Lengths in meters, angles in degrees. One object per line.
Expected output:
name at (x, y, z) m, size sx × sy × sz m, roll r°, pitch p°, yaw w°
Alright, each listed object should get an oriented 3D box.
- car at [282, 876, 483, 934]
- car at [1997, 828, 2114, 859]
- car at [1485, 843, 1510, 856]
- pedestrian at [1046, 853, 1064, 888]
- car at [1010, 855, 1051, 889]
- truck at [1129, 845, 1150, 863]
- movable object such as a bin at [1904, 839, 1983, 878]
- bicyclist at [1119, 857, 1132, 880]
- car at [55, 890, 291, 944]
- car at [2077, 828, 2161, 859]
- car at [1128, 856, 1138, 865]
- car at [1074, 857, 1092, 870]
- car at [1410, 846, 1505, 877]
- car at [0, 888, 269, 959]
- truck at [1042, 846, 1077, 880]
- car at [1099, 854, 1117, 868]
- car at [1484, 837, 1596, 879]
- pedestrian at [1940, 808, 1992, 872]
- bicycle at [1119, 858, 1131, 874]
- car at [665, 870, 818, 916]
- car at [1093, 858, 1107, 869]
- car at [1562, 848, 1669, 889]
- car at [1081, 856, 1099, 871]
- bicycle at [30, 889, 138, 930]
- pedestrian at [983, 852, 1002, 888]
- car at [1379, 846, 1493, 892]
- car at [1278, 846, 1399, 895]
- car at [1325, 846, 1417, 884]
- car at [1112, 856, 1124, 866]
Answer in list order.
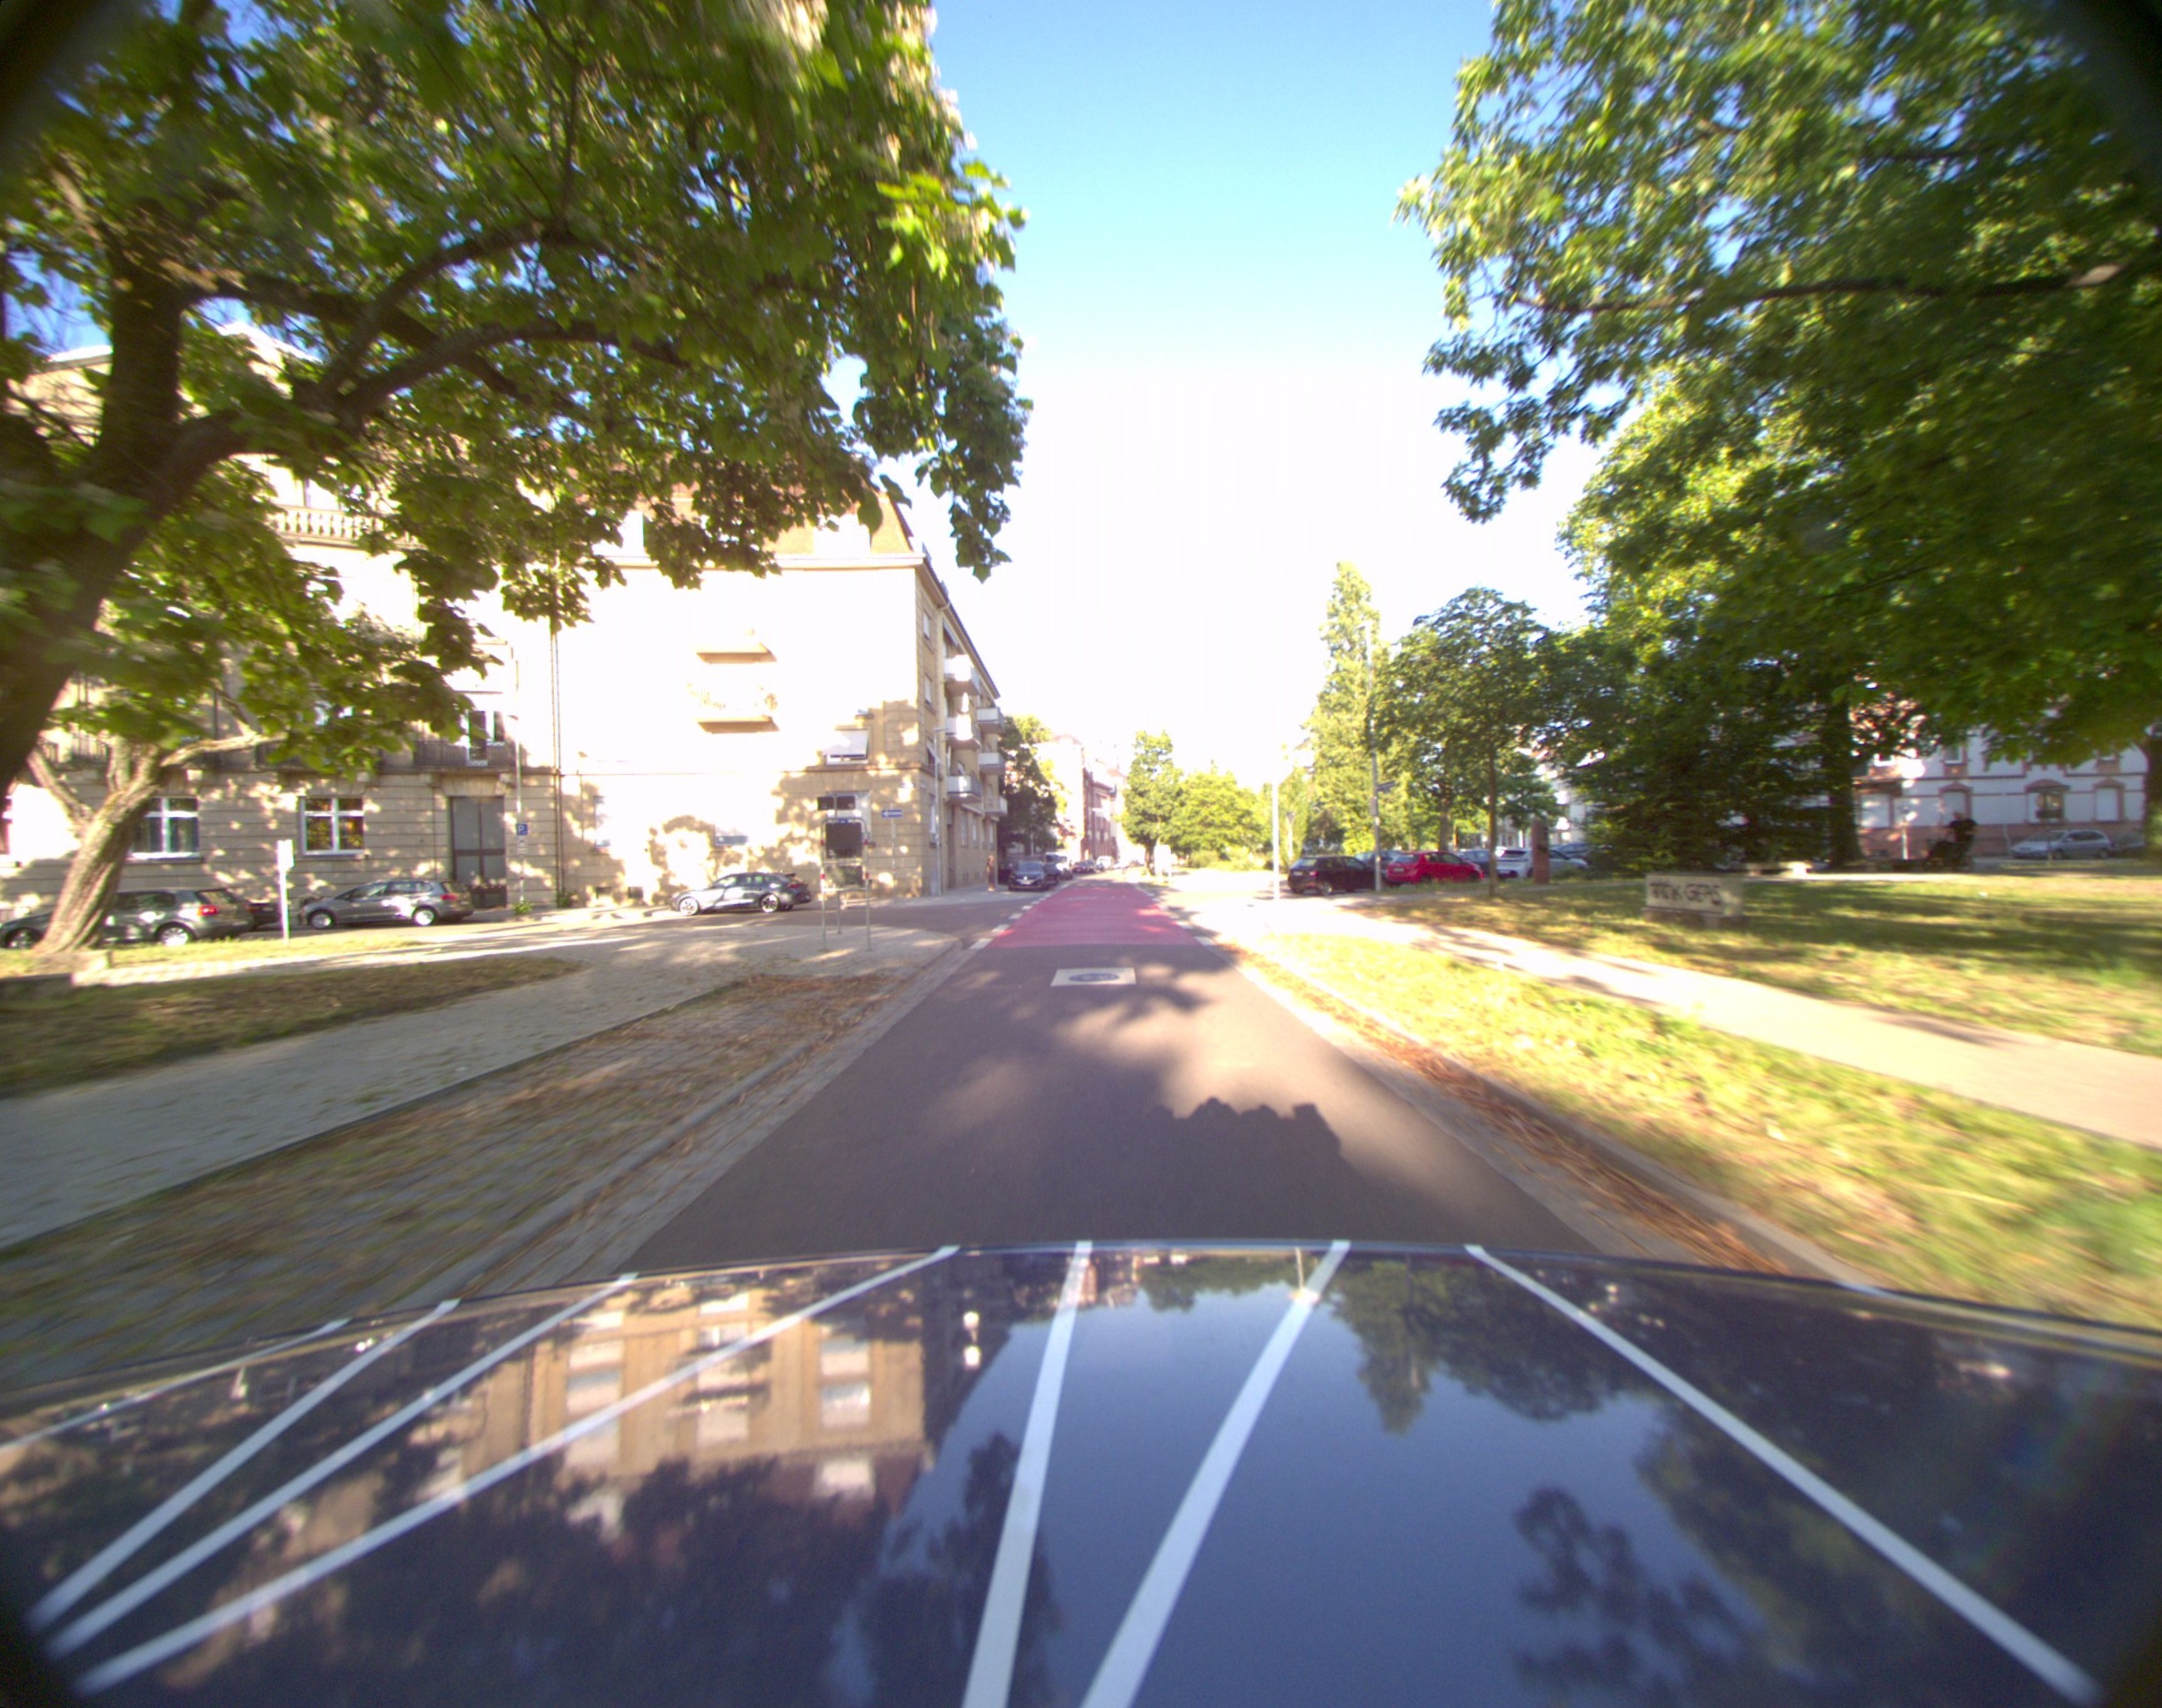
car at (-22.717, 1.612, 24.937) m, size 4.456 × 1.590 × 1.800 m, roll -1°, pitch 1°, yaw -17°
car at (53.715, -0.586, 41.938) m, size 3.997 × 1.565 × 1.890 m, roll -2°, pitch 2°, yaw 1°
car at (52.892, -0.602, 96.562) m, size 1.887 × 1.565 × 4.603 m, roll -1°, pitch 2°, yaw 16°
pedestrian at (-1.348, 0.848, 39.358) m, size 0.778 × 1.759 × 0.955 m, roll -2°, pitch 0°, yaw 2°
car at (-2.513, 0.913, 38.670) m, size 1.707 × 1.616 × 4.349 m, roll 1°, pitch -1°, yaw 1°
truck at (11.517, -0.058, 148.328) m, size 3.018 × 3.423 × 7.630 m, roll -1°, pitch 0°, yaw 12°
movable object such as a bin at (23.019, 0.103, 20.293) m, size 1.334 × 0.984 × 0.948 m, roll -1°, pitch 1°, yaw -18°
bicyclist at (3.440, 1.128, 58.583) m, size 0.939 × 1.693 × 0.906 m, roll -2°, pitch 0°, yaw 7°
car at (-27.754, 1.888, 23.422) m, size 4.458 × 1.316 × 1.502 m, roll -1°, pitch 1°, yaw -21°
car at (58.938, -0.596, 42.463) m, size 3.997 × 1.565 × 1.890 m, roll -2°, pitch 2°, yaw 0°
car at (9.547, 1.135, 138.819) m, size 1.582 × 1.499 × 3.849 m, roll -1°, pitch 0°, yaw 8°
car at (0.263, 1.051, 83.681) m, size 1.610 × 1.349 × 3.549 m, roll -1°, pitch 0°, yaw 7°
car at (18.832, 0.343, 38.050) m, size 4.281 × 1.392 × 1.836 m, roll -1°, pitch 1°, yaw -21°
car at (-23.399, 1.650, 18.636) m, size 4.371 × 1.409 × 1.842 m, roll -1°, pitch 1°, yaw -19°
truck at (-1.628, 0.671, 60.476) m, size 2.133 × 2.549 × 6.878 m, roll -1°, pitch 0°, yaw 3°
car at (3.958, 0.987, 112.045) m, size 2.118 × 1.942 × 4.763 m, roll -1°, pitch 0°, yaw 8°
car at (19.135, 0.140, 31.686) m, size 4.003 × 1.565 × 1.887 m, roll -2°, pitch 2°, yaw -20°
pedestrian at (23.986, -0.365, 20.602) m, size 0.664 × 1.686 × 0.671 m, roll -2°, pitch 0°, yaw -18°
bicycle at (3.432, 0.931, 58.556) m, size 0.739 × 1.129 × 2.105 m, roll -2°, pitch 0°, yaw 7°
car at (-11.783, 1.328, 26.626) m, size 4.452 × 1.410 × 1.935 m, roll -1°, pitch 1°, yaw -4°
car at (2.515, 1.231, 99.630) m, size 1.509 × 1.437 × 3.731 m, roll -1°, pitch 0°, yaw 7°
car at (23.396, 0.614, 33.281) m, size 4.003 × 1.565 × 1.887 m, roll -2°, pitch 2°, yaw -19°
car at (1.060, 1.129, 89.342) m, size 1.610 × 1.608 × 3.952 m, roll -1°, pitch 0°, yaw 7°
bicycle at (-33.499, 1.857, 25.562) m, size 2.126 × 1.223 × 0.613 m, roll -1°, pitch 1°, yaw -24°
pedestrian at (-4.584, 0.810, 39.229) m, size 0.733 × 1.819 × 0.555 m, roll -3°, pitch 0°, yaw -35°
car at (13.924, 0.552, 29.807) m, size 4.004 × 1.565 × 1.887 m, roll -2°, pitch 2°, yaw -24°
car at (9.552, 0.551, 28.164) m, size 4.004 × 1.565 × 1.887 m, roll -2°, pitch 2°, yaw -24°
car at (13.760, 0.496, 36.091) m, size 3.851 × 1.622 × 1.836 m, roll -1°, pitch 1°, yaw -23°
car at (5.953, 1.168, 121.096) m, size 1.582 × 1.499 × 3.849 m, roll -1°, pitch 0°, yaw 7°
